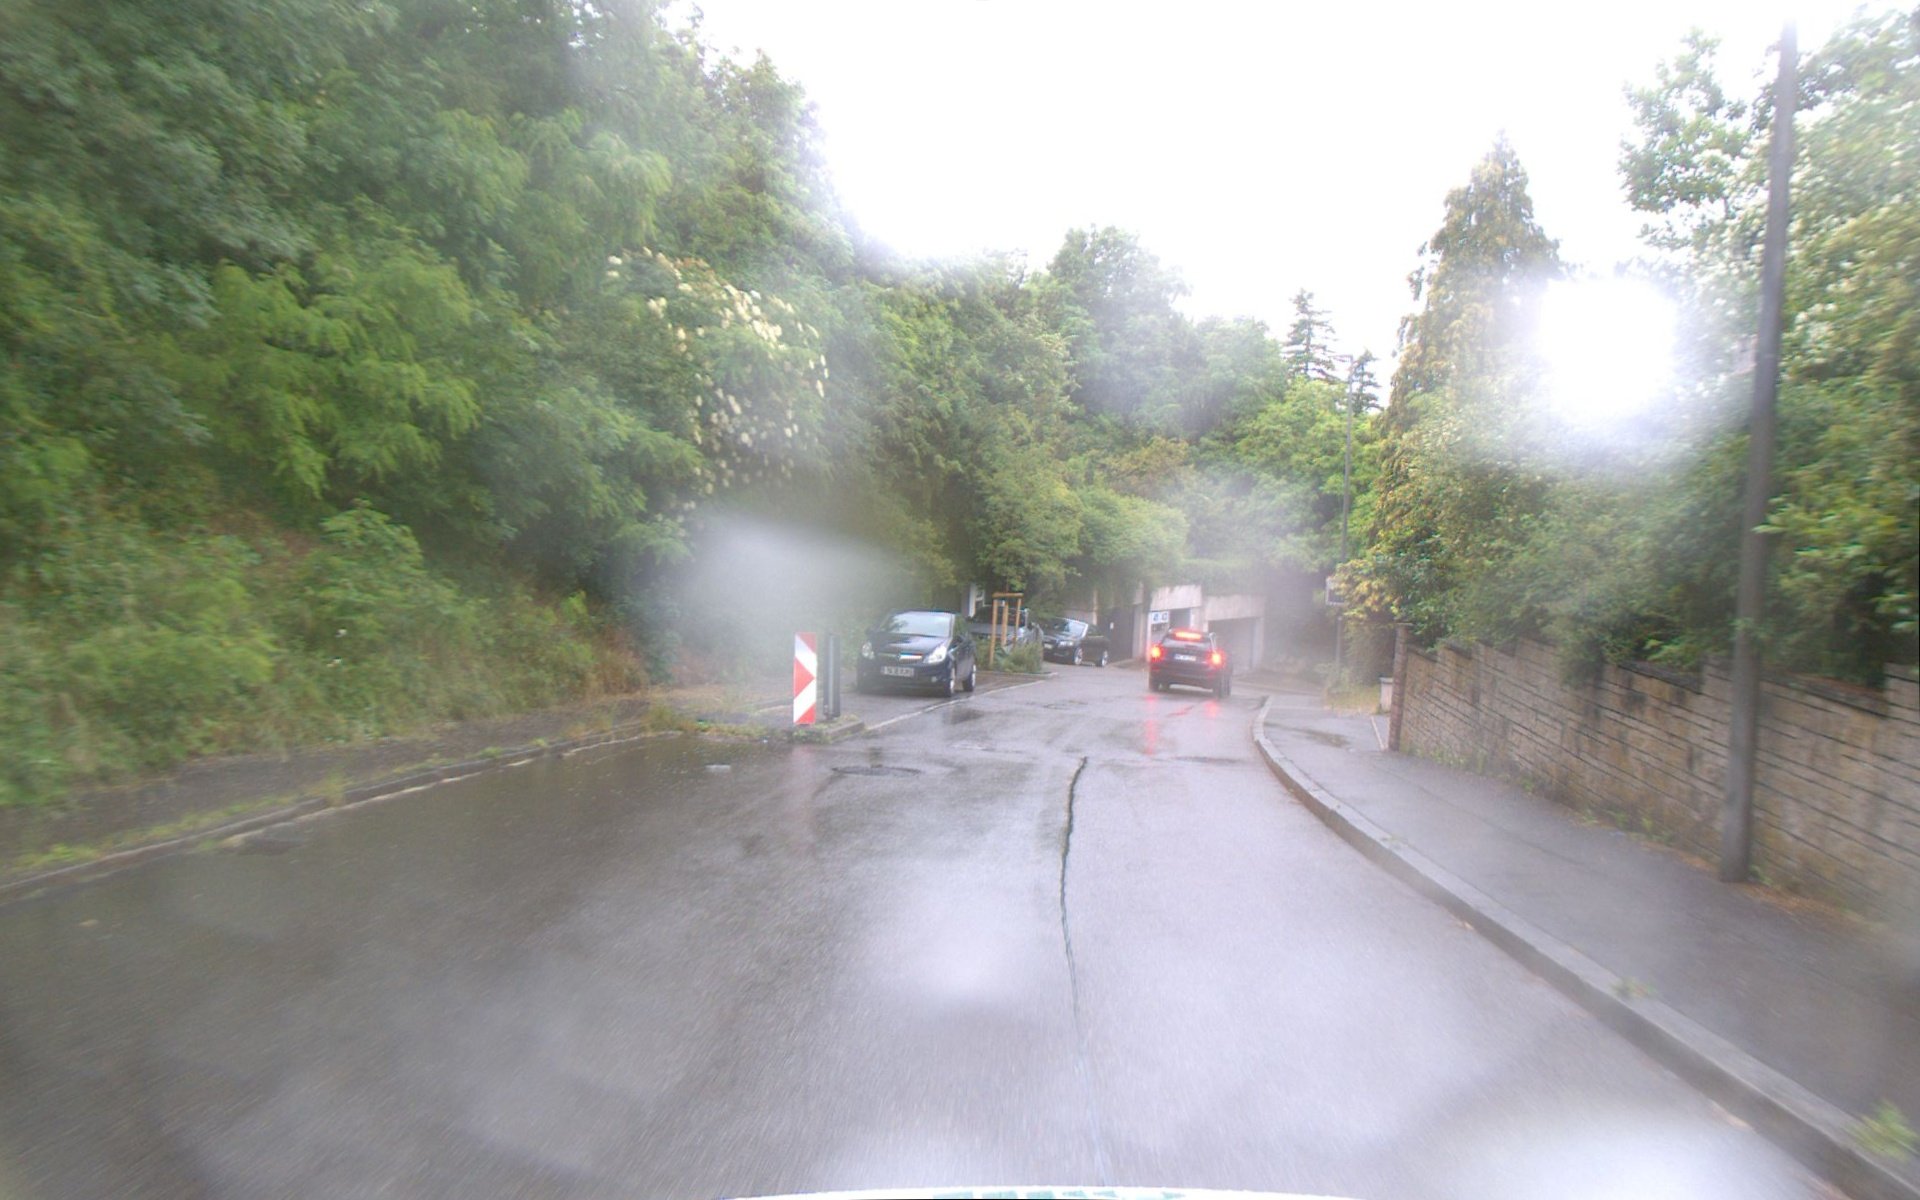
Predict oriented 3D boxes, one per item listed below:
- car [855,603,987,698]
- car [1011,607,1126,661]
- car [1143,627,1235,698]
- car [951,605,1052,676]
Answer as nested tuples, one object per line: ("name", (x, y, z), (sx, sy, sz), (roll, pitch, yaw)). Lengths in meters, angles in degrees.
("car", (-0.614, 0.846, 29.497), (1.664, 1.497, 4.003), (3, 0, 8))
("car", (3.539, 1.116, 53.107), (1.955, 1.534, 4.564), (3, -1, 27))
("car", (5.535, 1.443, 39.664), (1.828, 1.539, 4.096), (2, 0, 13))
("car", (1.163, 1.058, 43.753), (1.951, 1.669, 4.003), (3, -1, 11))
